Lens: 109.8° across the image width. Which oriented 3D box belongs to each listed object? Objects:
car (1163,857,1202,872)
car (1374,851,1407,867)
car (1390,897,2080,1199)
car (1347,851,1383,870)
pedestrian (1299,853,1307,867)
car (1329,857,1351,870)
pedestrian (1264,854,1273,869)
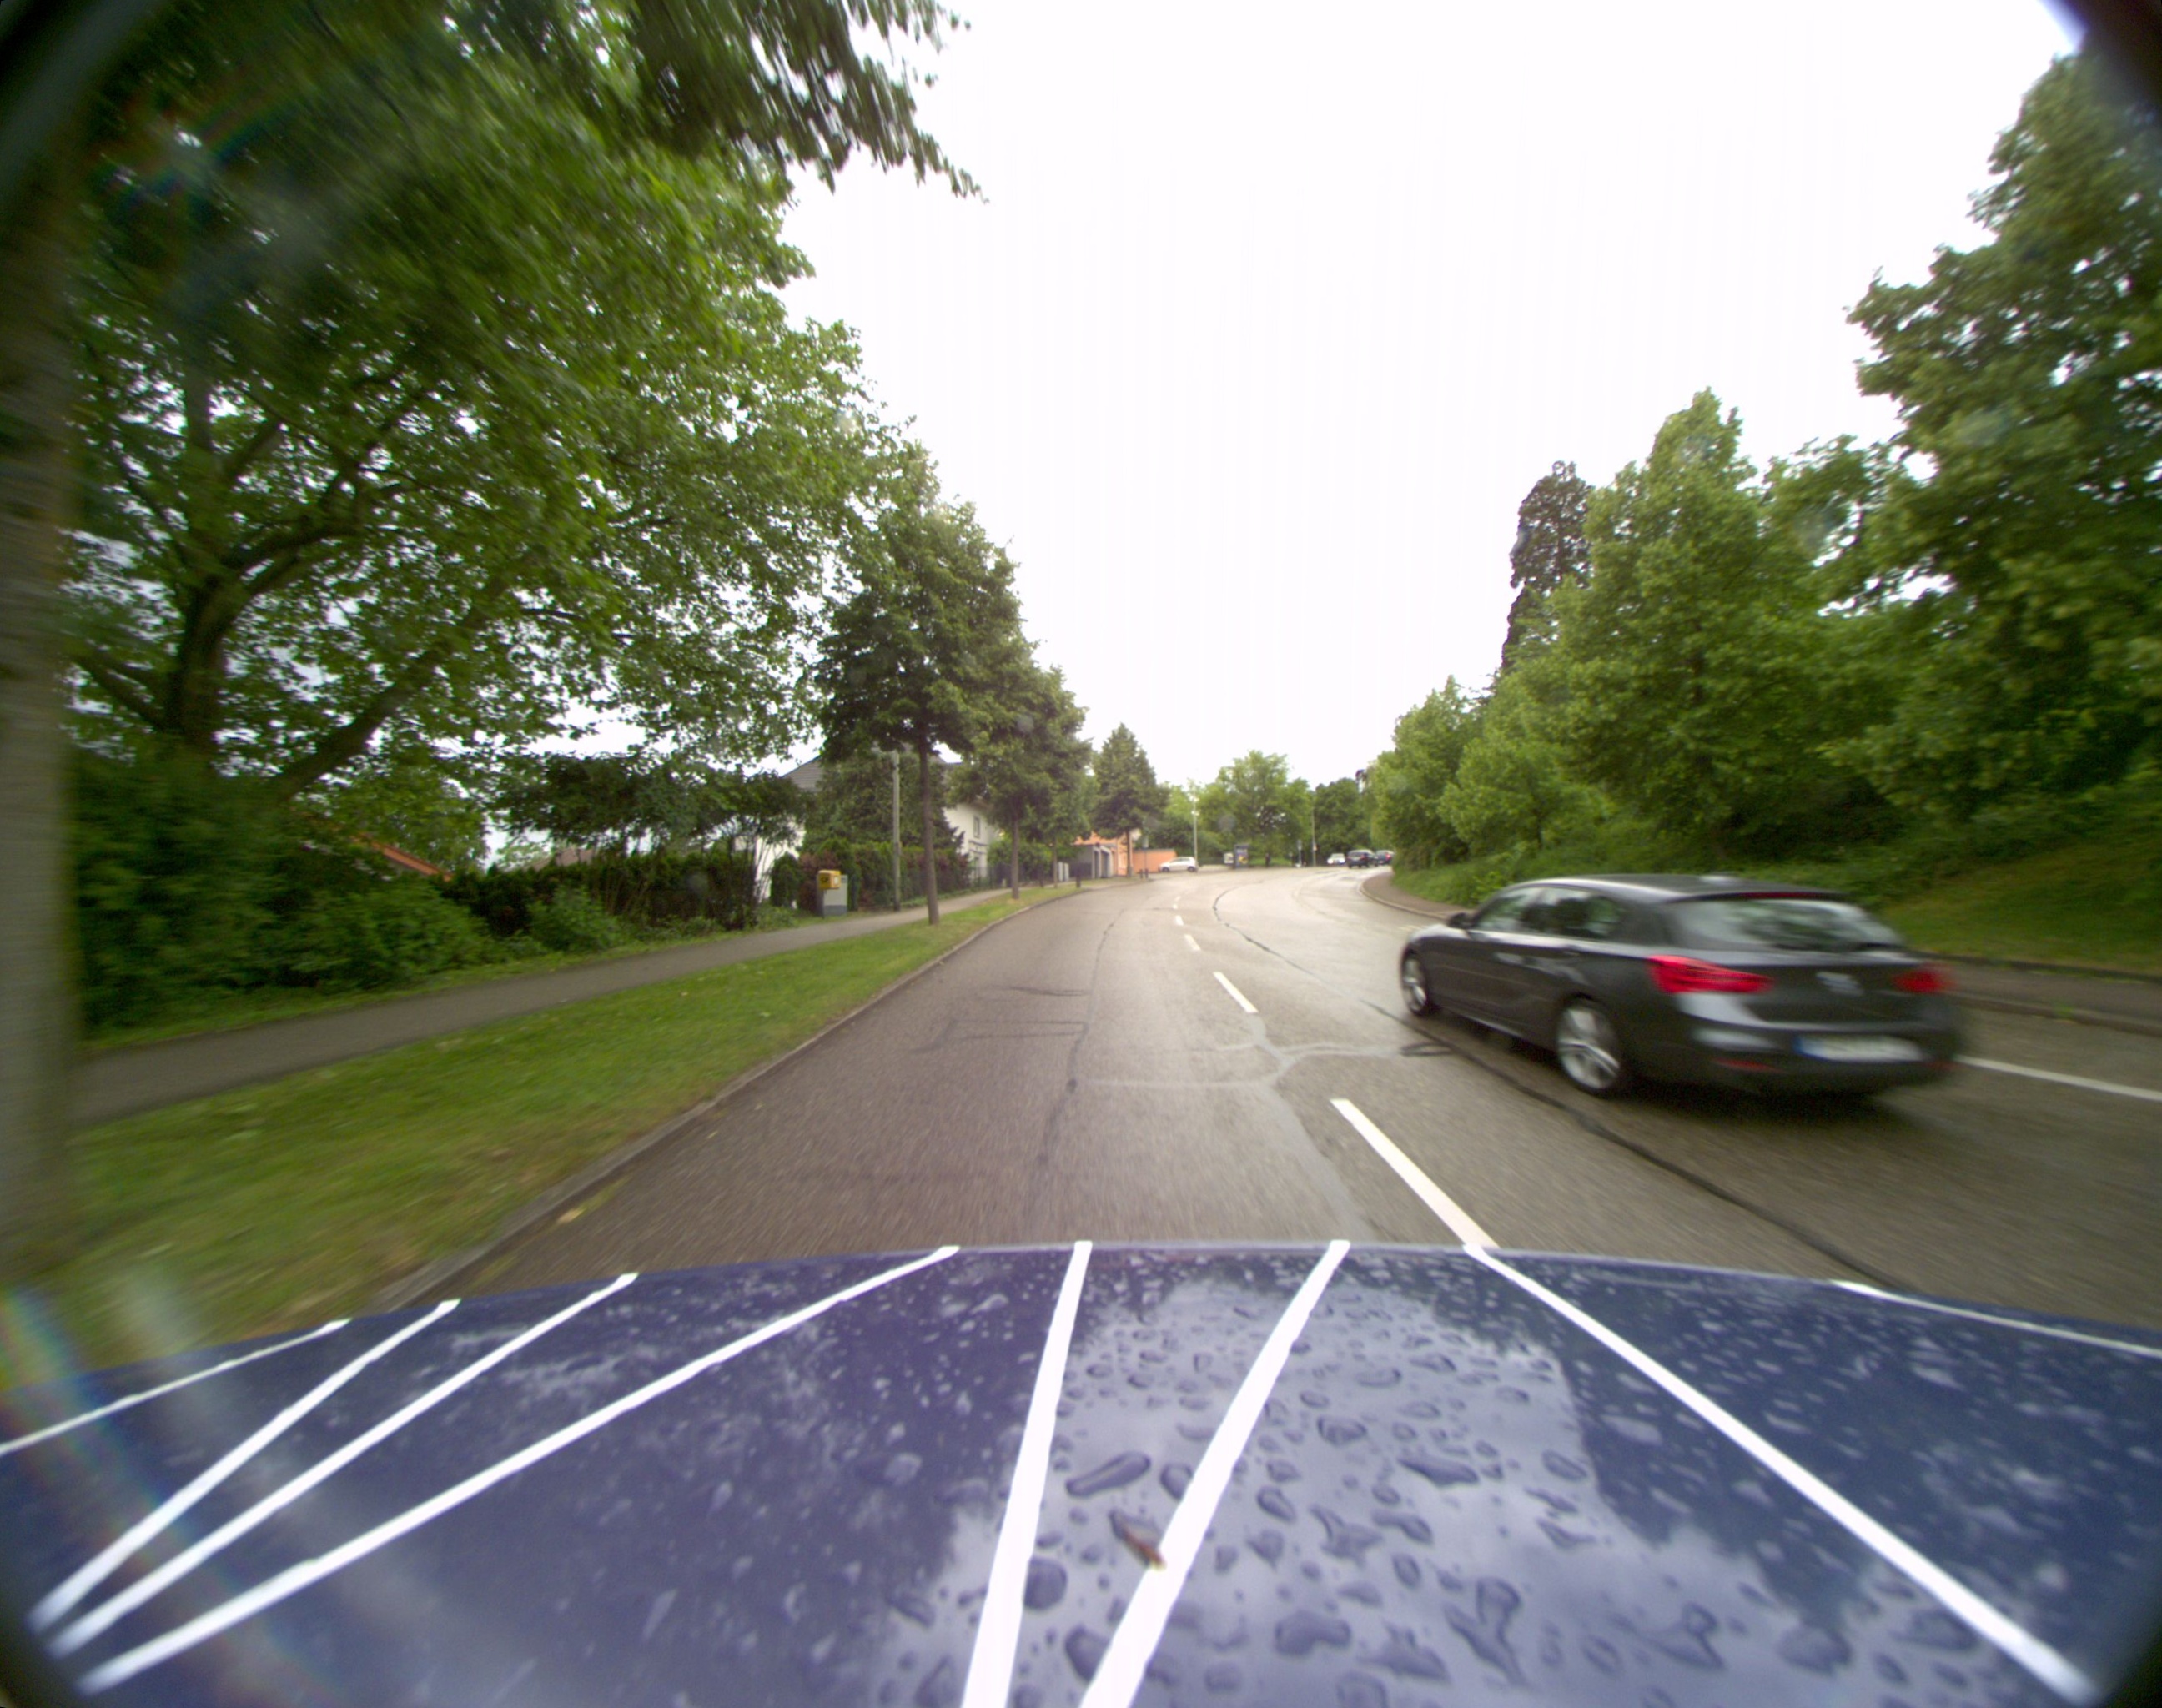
[{"bbox_3d":[10.492,1.093,78.692,3.863,1.556,1.729,0,-1,12],"label":"car"},{"bbox_3d":[31.361,0.501,76.903,1.722,1.455,4.386,-2,-1,42],"label":"car"},{"bbox_3d":[4.056,1.072,5.813,1.726,1.375,4.141,0,-2,1],"label":"car"},{"bbox_3d":[26.491,0.589,70.865,1.811,1.567,4.695,-2,0,37],"label":"car"},{"bbox_3d":[28.205,0.805,96.395,0.723,1.722,0.821,-2,-1,33],"label":"pedestrian"},{"bbox_3d":[31.489,1.146,92.338,1.859,1.406,4.395,-3,-3,28],"label":"car"},{"bbox_3d":[22.090,0.881,89.559,0.926,1.645,1.100,-2,-1,22],"label":"pedestrian"}]
